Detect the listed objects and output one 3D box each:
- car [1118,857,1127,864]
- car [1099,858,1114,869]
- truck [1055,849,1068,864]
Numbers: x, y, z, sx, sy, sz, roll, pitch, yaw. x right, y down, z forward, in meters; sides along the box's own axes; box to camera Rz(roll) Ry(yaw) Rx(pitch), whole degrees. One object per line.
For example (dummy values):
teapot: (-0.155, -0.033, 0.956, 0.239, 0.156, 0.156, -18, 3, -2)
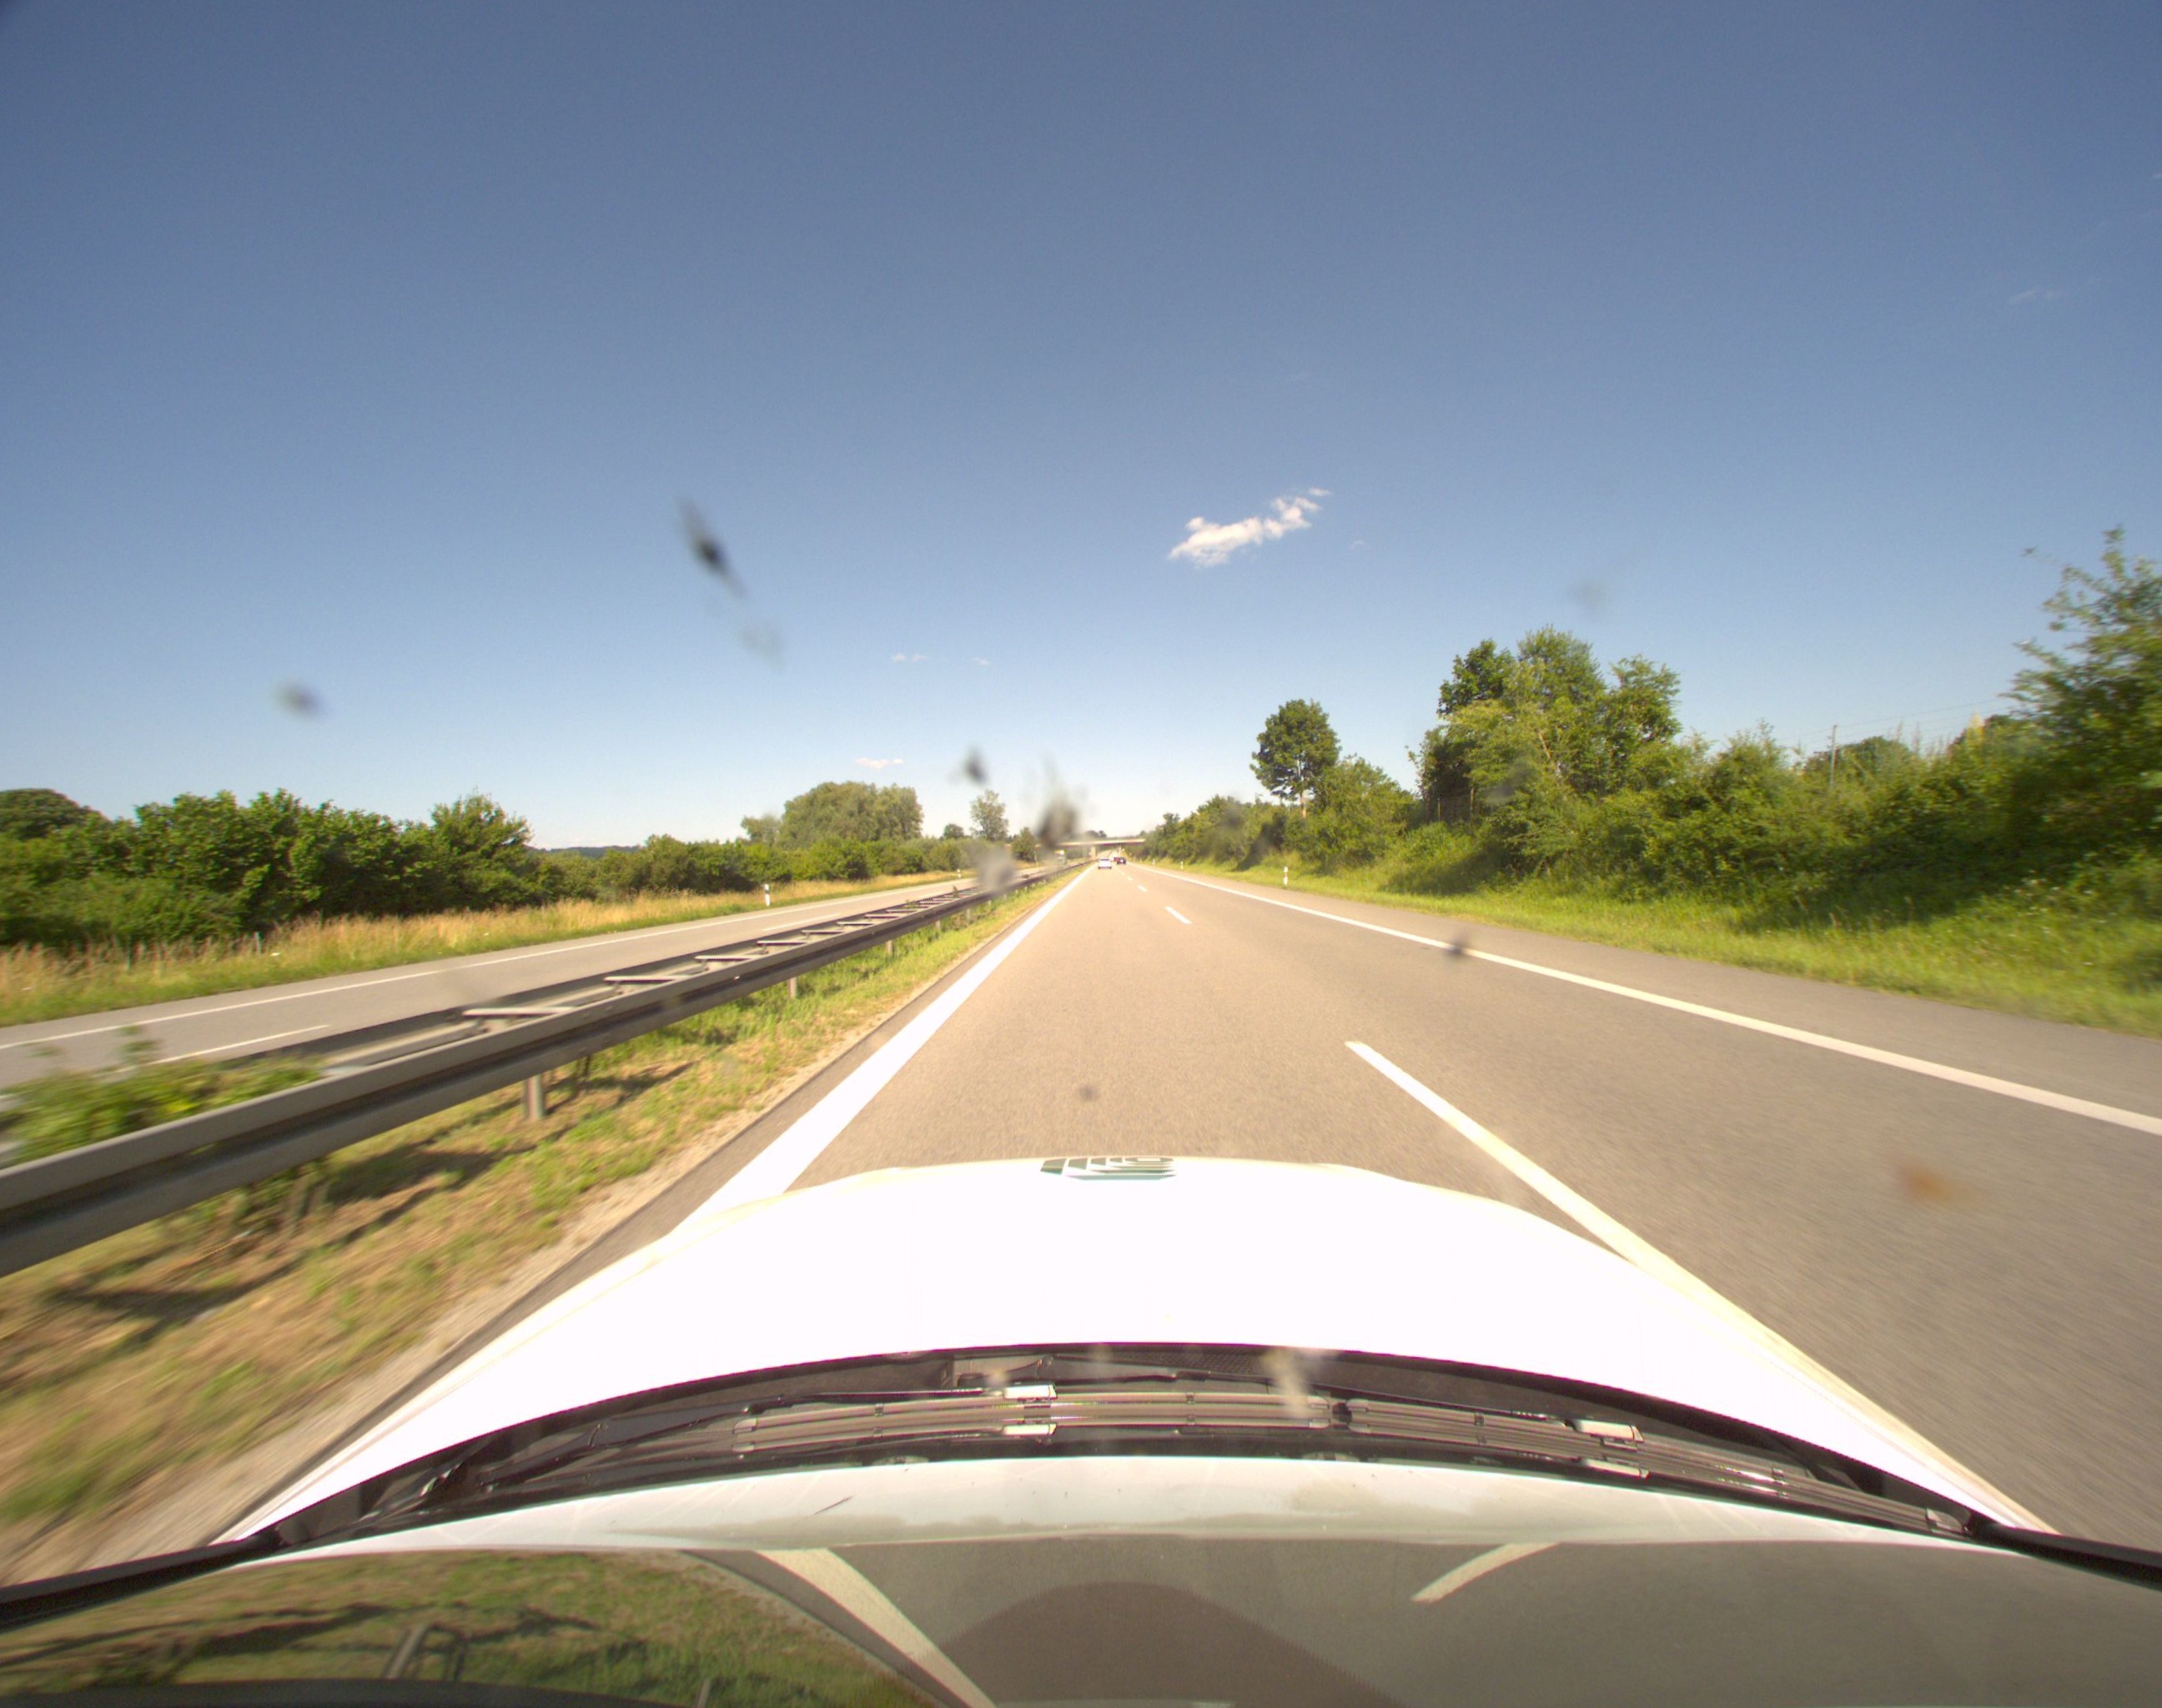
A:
car: (8.258, 1.299, 162.882, 1.836, 1.520, 4.001, 0, 0, 1)
car: (3.303, 1.189, 105.939, 1.836, 1.415, 4.001, 0, 0, 1)
truck: (-5.066, 0.592, 211.346, 2.945, 3.731, 5.569, -3, -1, 1)
